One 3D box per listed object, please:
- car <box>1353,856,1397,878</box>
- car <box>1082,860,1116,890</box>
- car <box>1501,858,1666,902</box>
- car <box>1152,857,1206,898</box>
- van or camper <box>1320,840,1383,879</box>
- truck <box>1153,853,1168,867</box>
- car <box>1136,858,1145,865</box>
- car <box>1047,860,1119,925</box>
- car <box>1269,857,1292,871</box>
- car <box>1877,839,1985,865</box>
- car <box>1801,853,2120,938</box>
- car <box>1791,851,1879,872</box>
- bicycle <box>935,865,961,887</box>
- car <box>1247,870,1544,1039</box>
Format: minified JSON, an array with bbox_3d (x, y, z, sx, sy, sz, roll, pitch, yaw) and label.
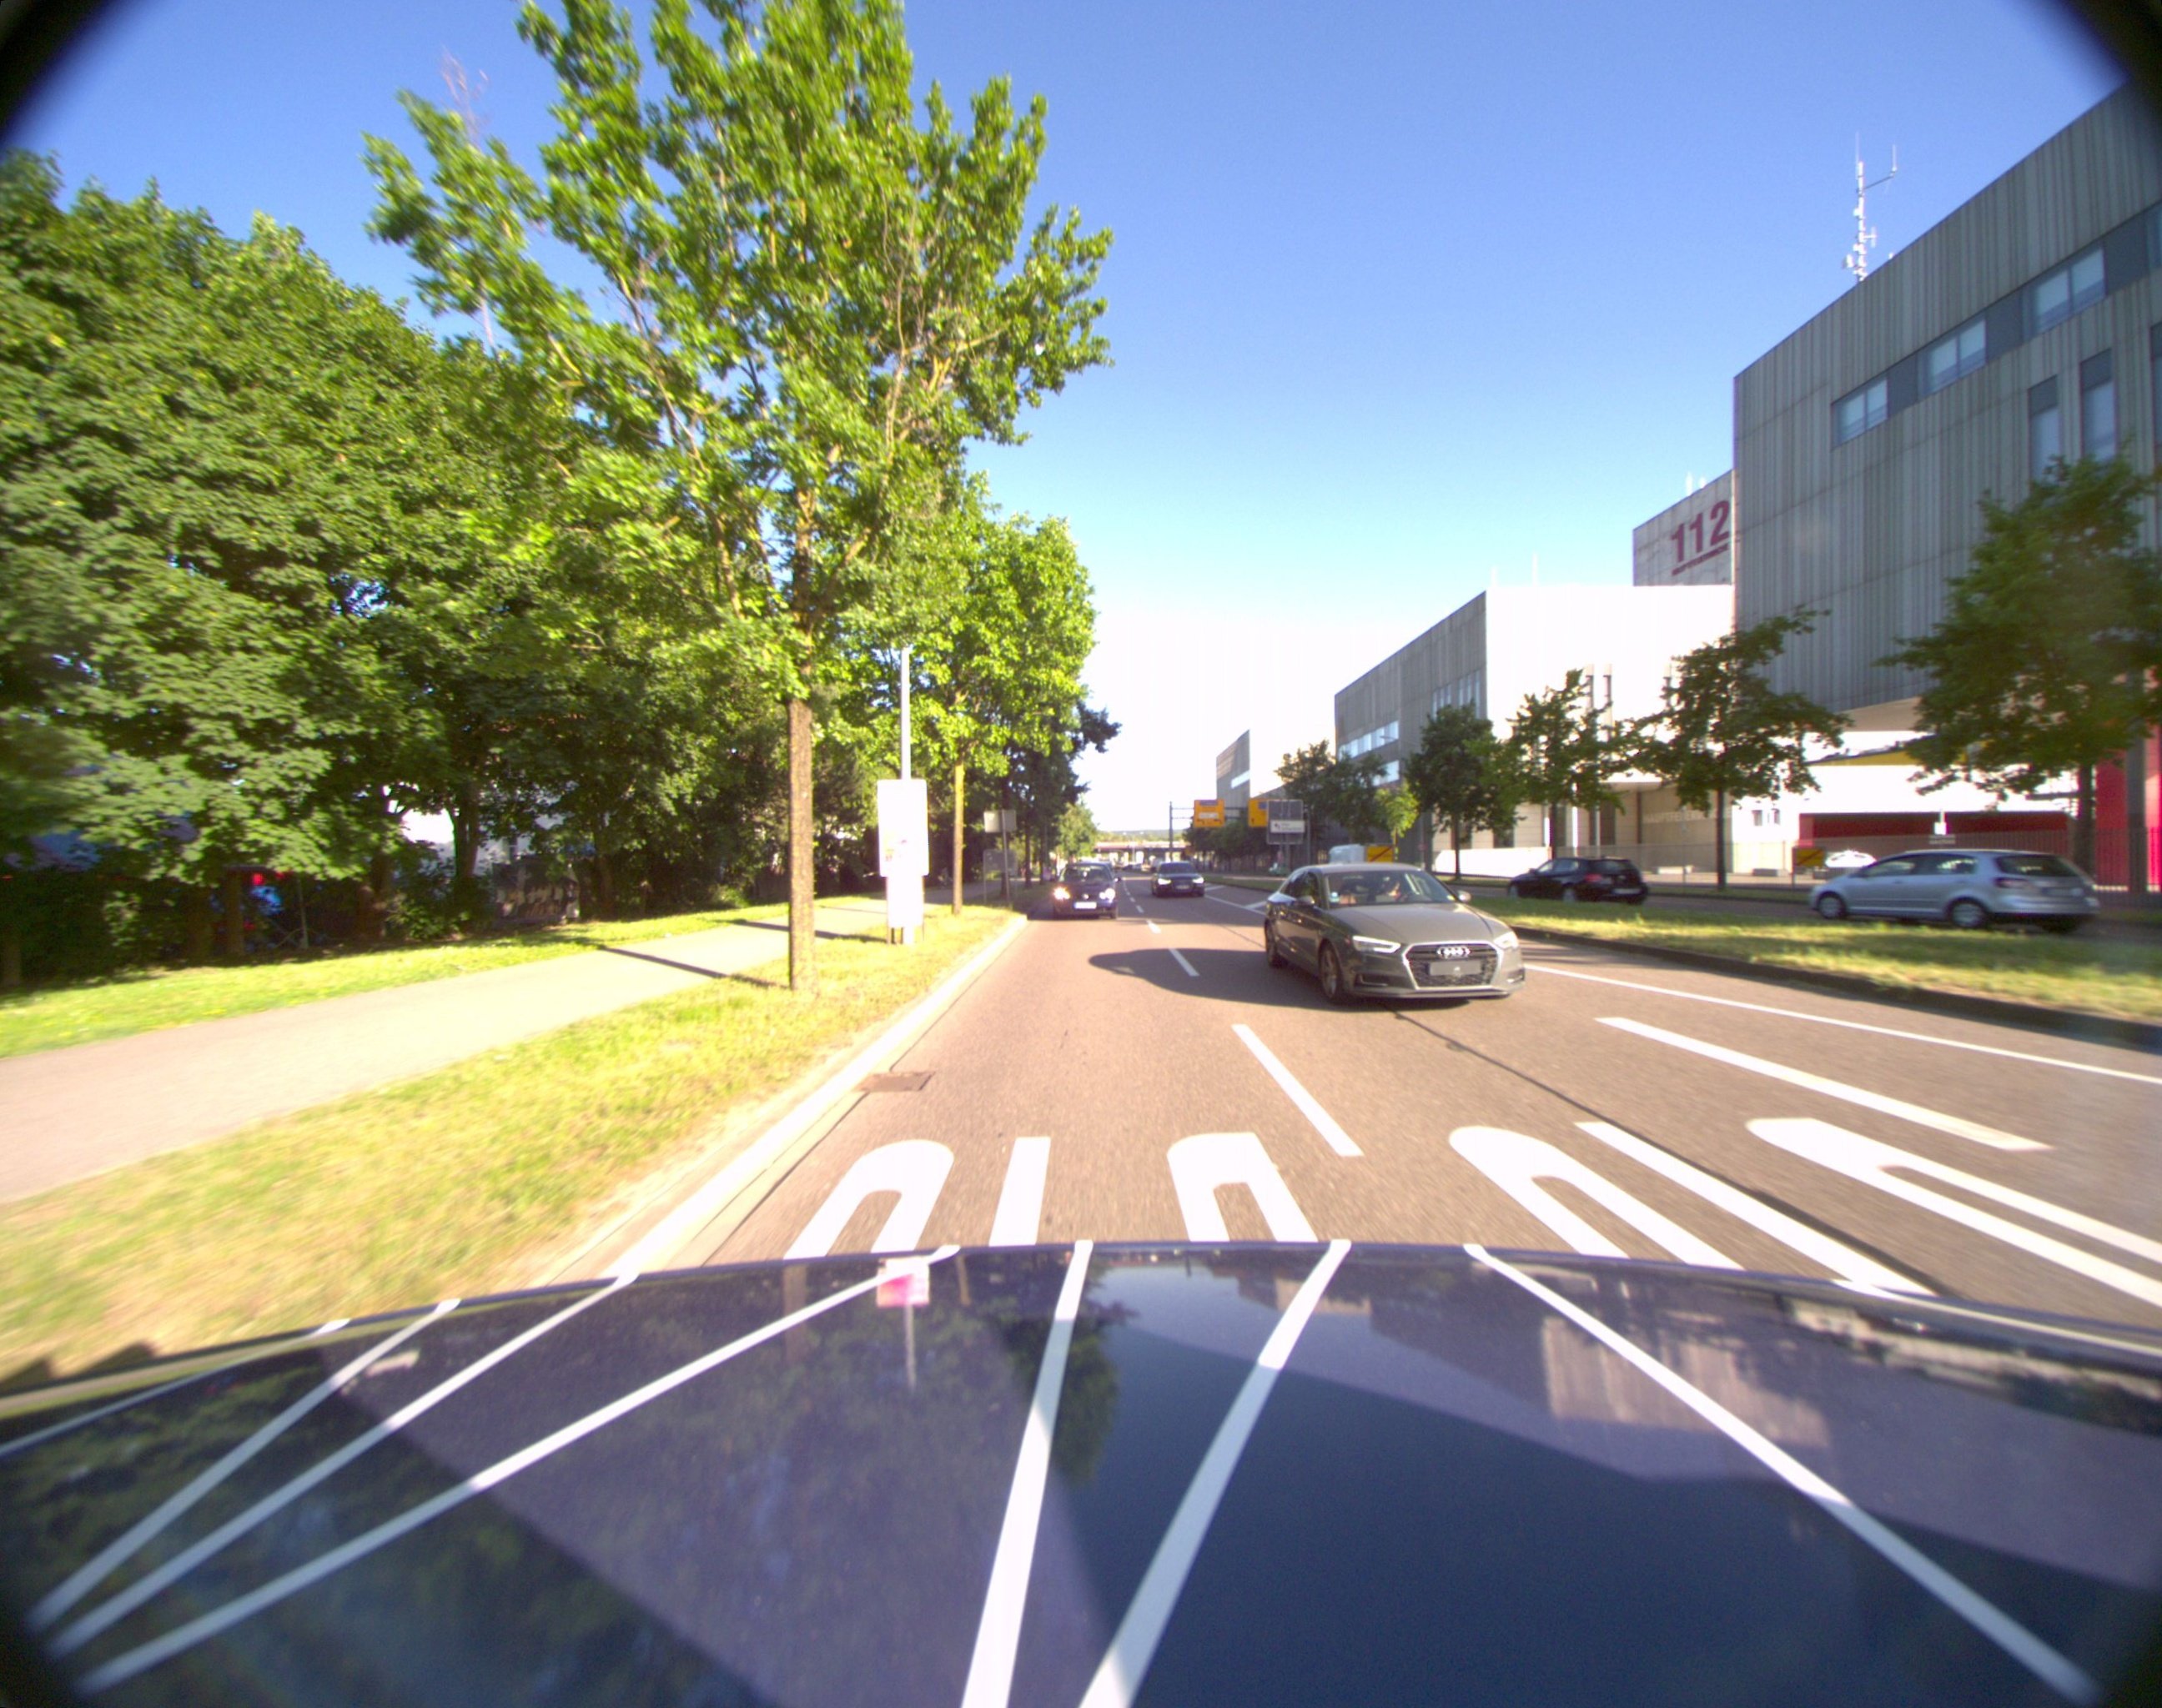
[{"bbox_3d":[20.850,0.924,54.064,1.554,1.499,4.026,-1,-1,0],"label":"car"},{"bbox_3d":[0.922,1.059,39.652,1.702,1.478,3.947,-1,0,1],"label":"car"},{"bbox_3d":[13.818,0.665,21.239,1.832,1.105,4.174,0,0,-1],"label":"car"},{"bbox_3d":[3.919,0.911,30.948,1.702,1.528,3.947,-1,0,1],"label":"car"},{"bbox_3d":[17.530,0.381,49.587,1.998,2.354,5.994,1,0,1],"label":"van or camper"},{"bbox_3d":[17.264,1.314,164.654,2.692,2.943,7.115,1,-1,2],"label":"truck"},{"bbox_3d":[14.257,1.881,182.232,1.828,1.672,4.659,1,0,1],"label":"car"},{"bbox_3d":[0.073,0.953,20.587,1.702,1.474,4.052,-2,0,1],"label":"car"},{"bbox_3d":[20.706,1.061,79.054,1.449,1.428,3.460,-1,-1,0],"label":"car"},{"bbox_3d":[52.573,-0.117,47.081,4.398,1.494,1.936,-1,0,3],"label":"car"},{"bbox_3d":[17.187,0.732,15.214,1.693,1.467,4.049,0,0,-1],"label":"car"},{"bbox_3d":[52.677,0.529,53.137,4.266,1.444,1.763,-1,0,3],"label":"car"},{"bbox_3d":[-6.744,1.110,38.675,0.775,1.124,1.710,-1,0,9],"label":"bicycle"},{"bbox_3d":[3.250,0.934,8.880,1.702,1.396,4.365,-1,0,1],"label":"car"}]
